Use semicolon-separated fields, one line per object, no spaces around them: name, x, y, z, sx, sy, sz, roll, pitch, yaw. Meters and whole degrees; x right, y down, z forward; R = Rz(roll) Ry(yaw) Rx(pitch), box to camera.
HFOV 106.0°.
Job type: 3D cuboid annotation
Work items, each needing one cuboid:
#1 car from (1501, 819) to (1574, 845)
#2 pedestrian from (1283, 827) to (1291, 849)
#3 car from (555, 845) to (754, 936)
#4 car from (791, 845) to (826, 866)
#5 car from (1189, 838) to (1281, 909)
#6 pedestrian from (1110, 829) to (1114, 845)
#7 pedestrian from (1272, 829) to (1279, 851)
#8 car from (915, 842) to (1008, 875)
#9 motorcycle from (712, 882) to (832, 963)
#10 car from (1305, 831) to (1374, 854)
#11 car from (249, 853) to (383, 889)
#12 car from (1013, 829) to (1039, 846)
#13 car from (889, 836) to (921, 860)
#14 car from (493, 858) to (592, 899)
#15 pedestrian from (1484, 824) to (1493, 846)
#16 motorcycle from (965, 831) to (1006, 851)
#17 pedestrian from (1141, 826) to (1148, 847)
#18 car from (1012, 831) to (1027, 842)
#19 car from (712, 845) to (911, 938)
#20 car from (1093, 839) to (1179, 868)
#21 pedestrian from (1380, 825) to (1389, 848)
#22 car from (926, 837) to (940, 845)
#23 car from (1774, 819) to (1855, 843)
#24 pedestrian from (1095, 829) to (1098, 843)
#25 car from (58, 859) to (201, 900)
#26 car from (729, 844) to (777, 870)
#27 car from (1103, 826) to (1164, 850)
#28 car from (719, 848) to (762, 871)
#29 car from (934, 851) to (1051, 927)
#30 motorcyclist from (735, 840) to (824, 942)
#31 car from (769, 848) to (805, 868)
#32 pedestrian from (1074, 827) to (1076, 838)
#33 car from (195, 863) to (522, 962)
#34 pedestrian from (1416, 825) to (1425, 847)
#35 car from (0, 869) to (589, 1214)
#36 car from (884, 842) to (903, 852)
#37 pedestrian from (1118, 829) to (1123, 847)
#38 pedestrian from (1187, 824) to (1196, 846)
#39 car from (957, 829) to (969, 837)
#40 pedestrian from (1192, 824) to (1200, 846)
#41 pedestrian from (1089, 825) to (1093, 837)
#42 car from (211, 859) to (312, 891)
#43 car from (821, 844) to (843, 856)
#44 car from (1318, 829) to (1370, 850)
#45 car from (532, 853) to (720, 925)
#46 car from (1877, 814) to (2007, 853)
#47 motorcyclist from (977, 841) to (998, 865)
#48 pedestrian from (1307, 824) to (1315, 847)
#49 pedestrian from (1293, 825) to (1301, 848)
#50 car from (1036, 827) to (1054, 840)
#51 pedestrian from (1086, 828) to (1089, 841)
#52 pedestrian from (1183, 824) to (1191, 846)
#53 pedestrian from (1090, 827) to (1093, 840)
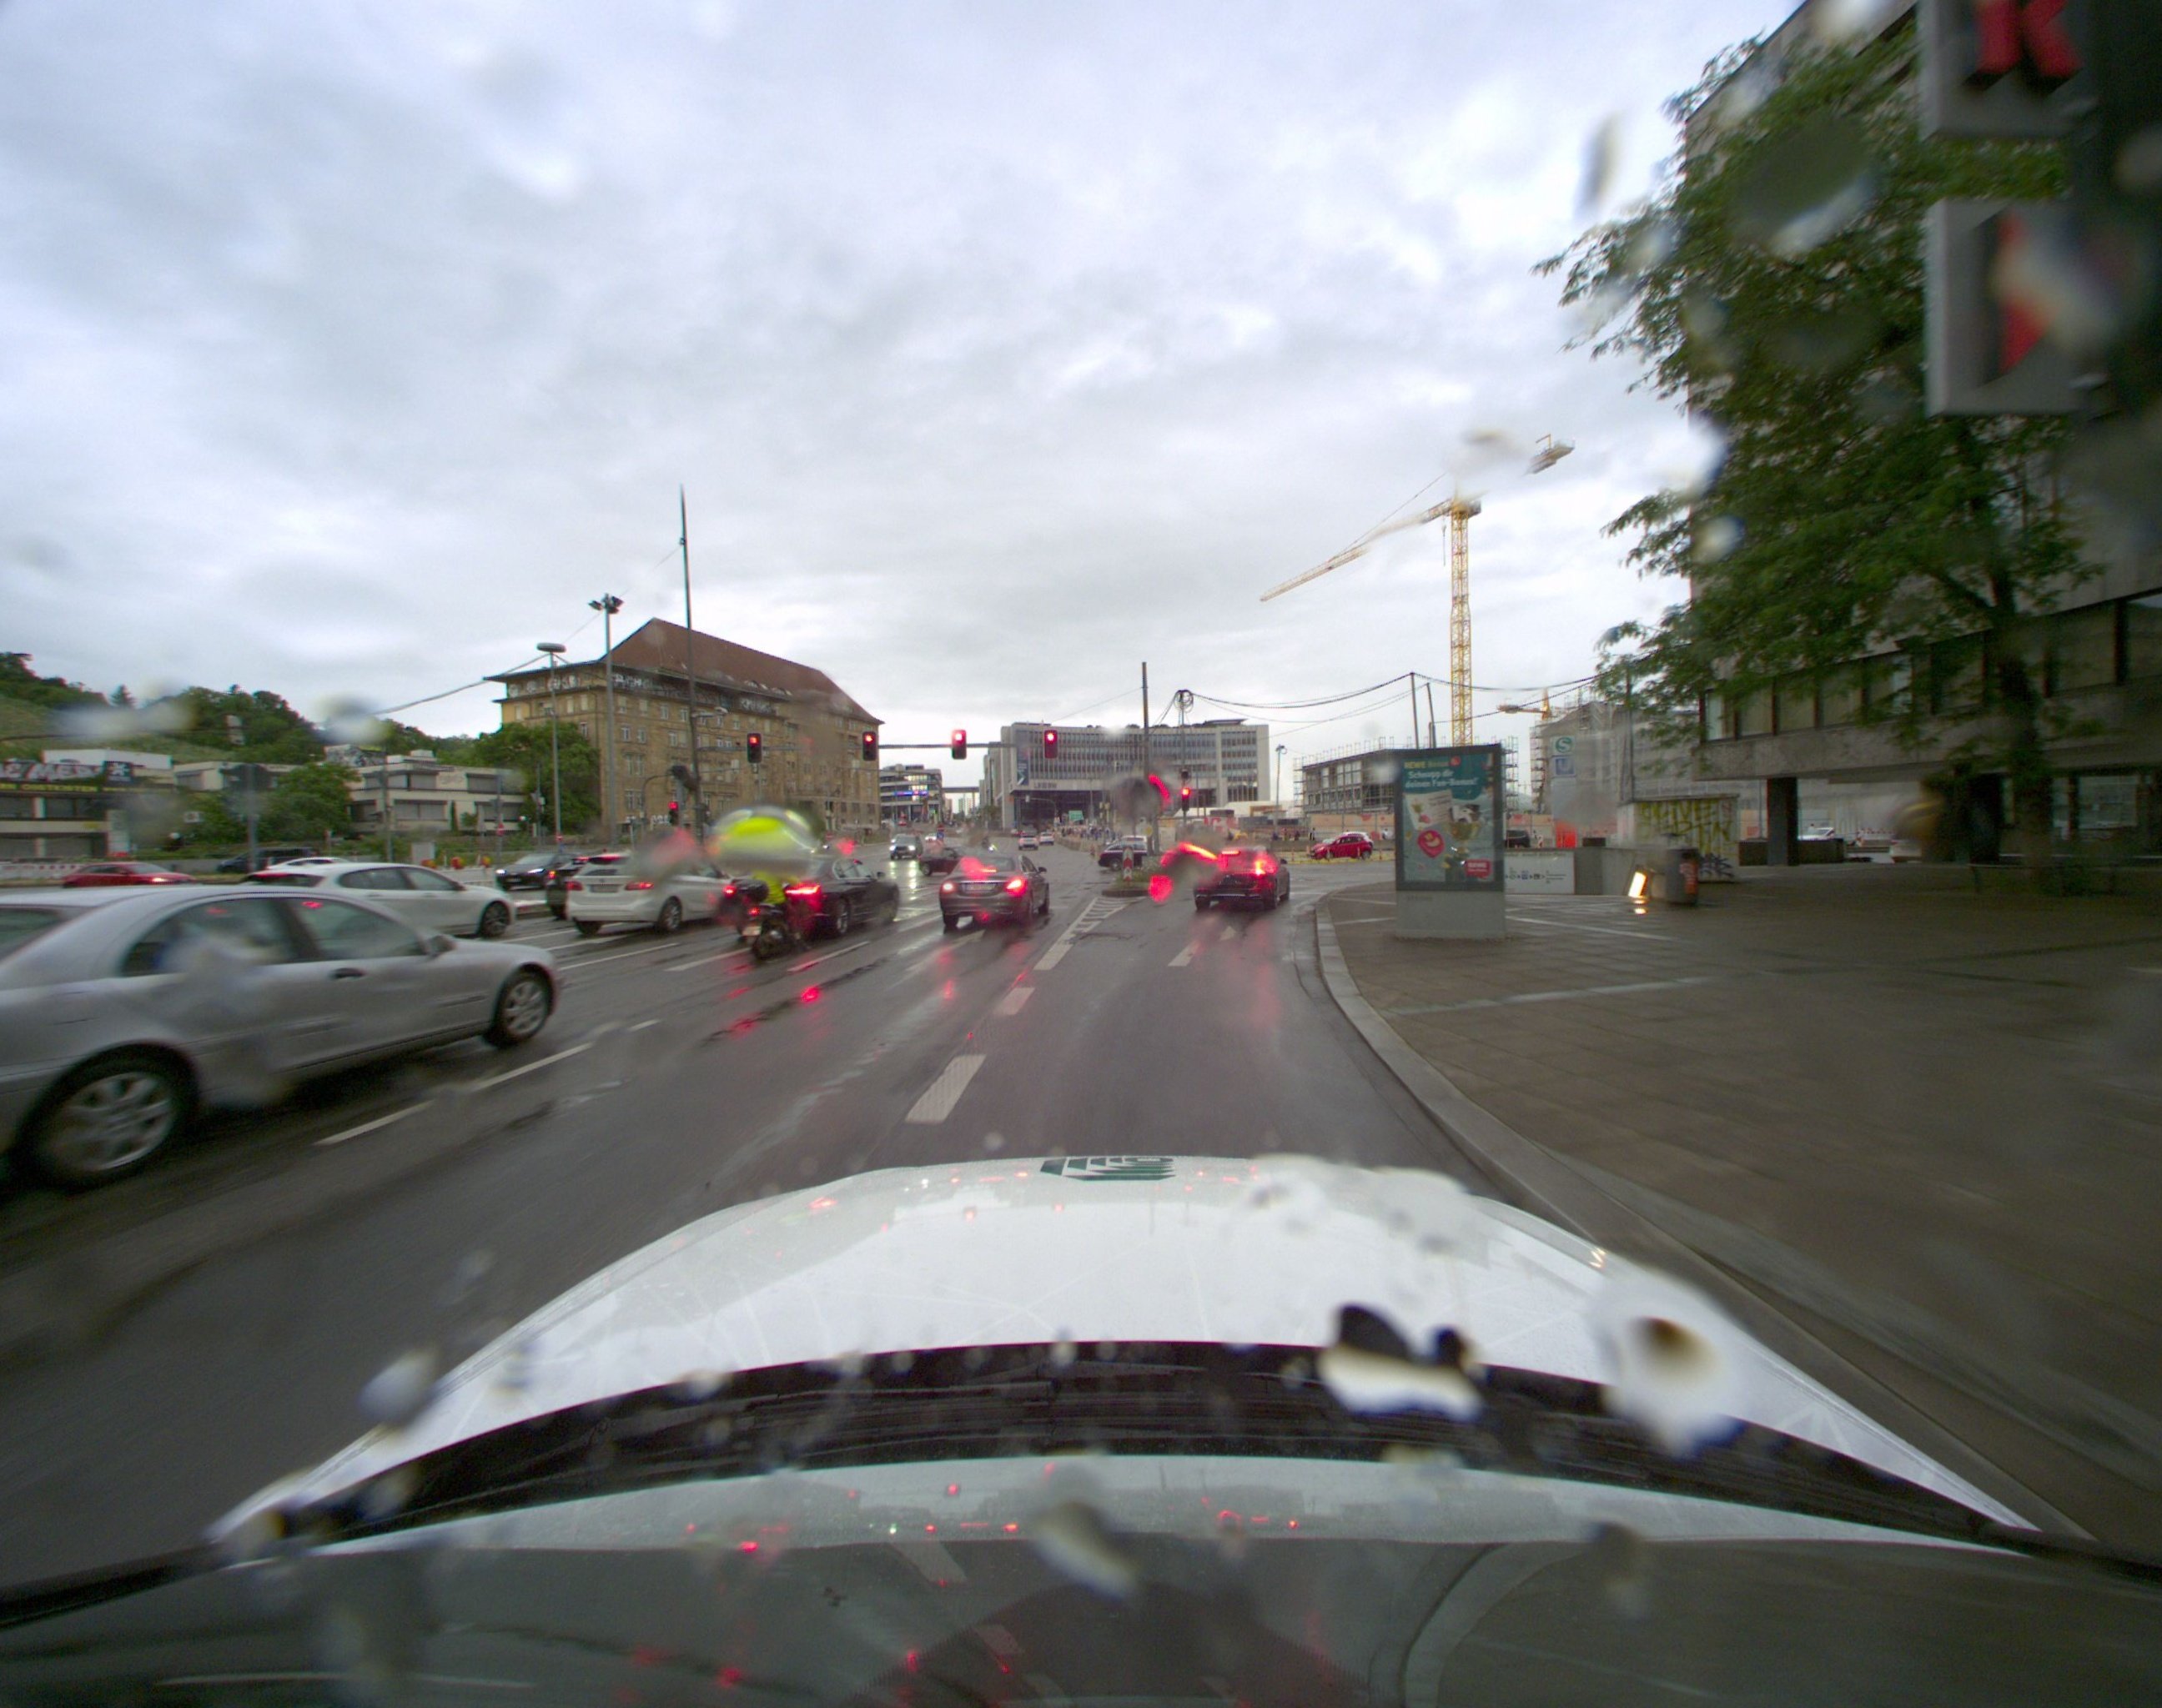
car;31.796;-1.532;56.790;3.982;1.734;1.996;-1;0;-6
pedestrian;17.791;-1.400;70.347;0.572;1.898;0.362;-1;0;2
car;-8.446;0.657;16.591;1.725;1.616;4.004;-1;0;4
car;-21.799;0.104;65.226;1.694;1.574;3.994;-1;0;-4
car;3.849;0.436;19.906;1.877;1.544;4.009;-1;0;15
pedestrian;3.665;-1.980;96.381;0.361;1.898;0.574;-1;0;-11
pedestrian;16.910;-1.190;70.800;0.569;1.898;0.364;-1;0;24
car;-5.758;0.205;39.157;4.059;1.506;2.013;-1;0;33
motorcycle;-4.574;0.975;12.281;0.939;0.989;2.293;-1;1;-1
car;15.262;-0.676;48.129;3.532;1.304;1.661;-1;0;-9
car;-38.043;0.805;40.651;4.394;1.662;1.987;-1;0;-19
car;-5.657;-1.721;83.815;1.996;1.640;3.981;-1;0;-14
car;-13.857;-0.489;64.398;1.992;1.797;5.090;-1;0;-7
car;-22.852;0.977;34.755;1.693;1.519;3.871;-3;0;-2
pedestrian;34.853;-1.597;69.713;0.573;1.898;0.362;-1;0;-3
motorcycle;-5.477;-0.758;46.796;2.121;1.108;0.854;-1;0;13
pedestrian;5.911;-1.629;75.878;0.364;1.898;0.570;-1;0;-37
car;-12.561;-3.594;166.710;2.001;2.013;3.971;-1;0;-21
car;-4.982;0.614;15.961;1.878;1.515;5.009;-1;0;4
car;2.802;-0.017;41.087;4.072;1.345;2.006;-1;0;11
pedestrian;25.596;-1.487;68.689;0.573;1.898;0.362;-1;0;-1
car;-24.564;-2.120;135.201;1.763;1.260;3.997;-1;0;-2
car;49.675;-1.554;55.180;4.039;1.552;1.994;-1;0;-9
pedestrian;2.078;-2.366;107.727;0.361;1.898;0.575;-1;0;-7
car;-40.069;1.062;34.359;3.975;1.596;1.675;-1;0;-1
car;-21.573;0.192;53.734;1.798;1.574;4.068;-1;0;-4
car;4.179;-1.273;64.726;4.363;1.766;2.012;-1;0;27
car;-24.513;0.397;58.784;1.694;1.574;3.994;-1;0;-4
car;-1.753;0.661;17.654;1.775;1.402;4.490;-1;0;3
motorcyclist;-4.572;0.533;12.423;0.939;1.475;1.100;-1;0;-1
car;-24.354;0.344;67.563;1.693;1.519;3.551;-3;0;-2
pedestrian;-1.164;-3.963;151.096;0.361;1.898;0.575;-1;0;-7
car;-11.869;0.877;13.818;1.775;1.373;3.999;-1;0;5
pedestrian;28.472;-1.511;68.339;0.573;1.898;0.362;-1;0;-1
car;-5.441;0.851;5.266;1.726;1.404;4.385;-1;0;2
car;-25.743;-0.917;111.750;1.763;1.260;4.191;-1;0;-2
pedestrian;4.307;-1.753;88.535;0.362;1.898;0.573;-1;0;-15
pedestrian;9.615;-1.647;70.830;0.364;1.898;0.570;-3;0;-38
car;-28.641;-5.078;196.995;2.002;1.816;3.970;-1;0;-22
pedestrian;10.054;-1.683;71.109;0.364;1.898;0.570;0;0;-39
pedestrian;1.714;-3.870;135.946;0.519;1.898;0.575;-1;0;-7
car;-54.298;1.339;54.081;4.228;2.013;1.986;-1;0;-22
car;-28.507;-0.449;93.287;1.734;1.260;3.325;-1;0;-4
car;19.856;-1.077;61.571;3.528;1.473;1.790;-1;0;7
car;-11.184;0.782;20.396;1.771;1.599;4.088;-1;0;13
car;38.169;-0.882;36.158;3.983;1.640;1.995;-1;0;-7
motorcyclist;-5.363;-0.059;46.776;0.938;1.358;0.852;-1;0;13
pedestrian;19.328;-1.533;68.446;0.572;1.898;0.363;-1;0;6
pedestrian;18.387;-1.467;69.233;0.572;1.898;0.362;-1;0;2
car;-4.578;-2.613;103.267;1.729;1.639;3.422;-1;3;-12
pedestrian;0.906;-2.963;121.253;0.361;1.898;0.575;-1;0;-7
pedestrian;9.177;-1.671;70.515;0.364;1.898;0.570;0;0;-41
pedestrian;1.597;-3.049;121.330;0.361;1.898;0.575;-1;0;-7
